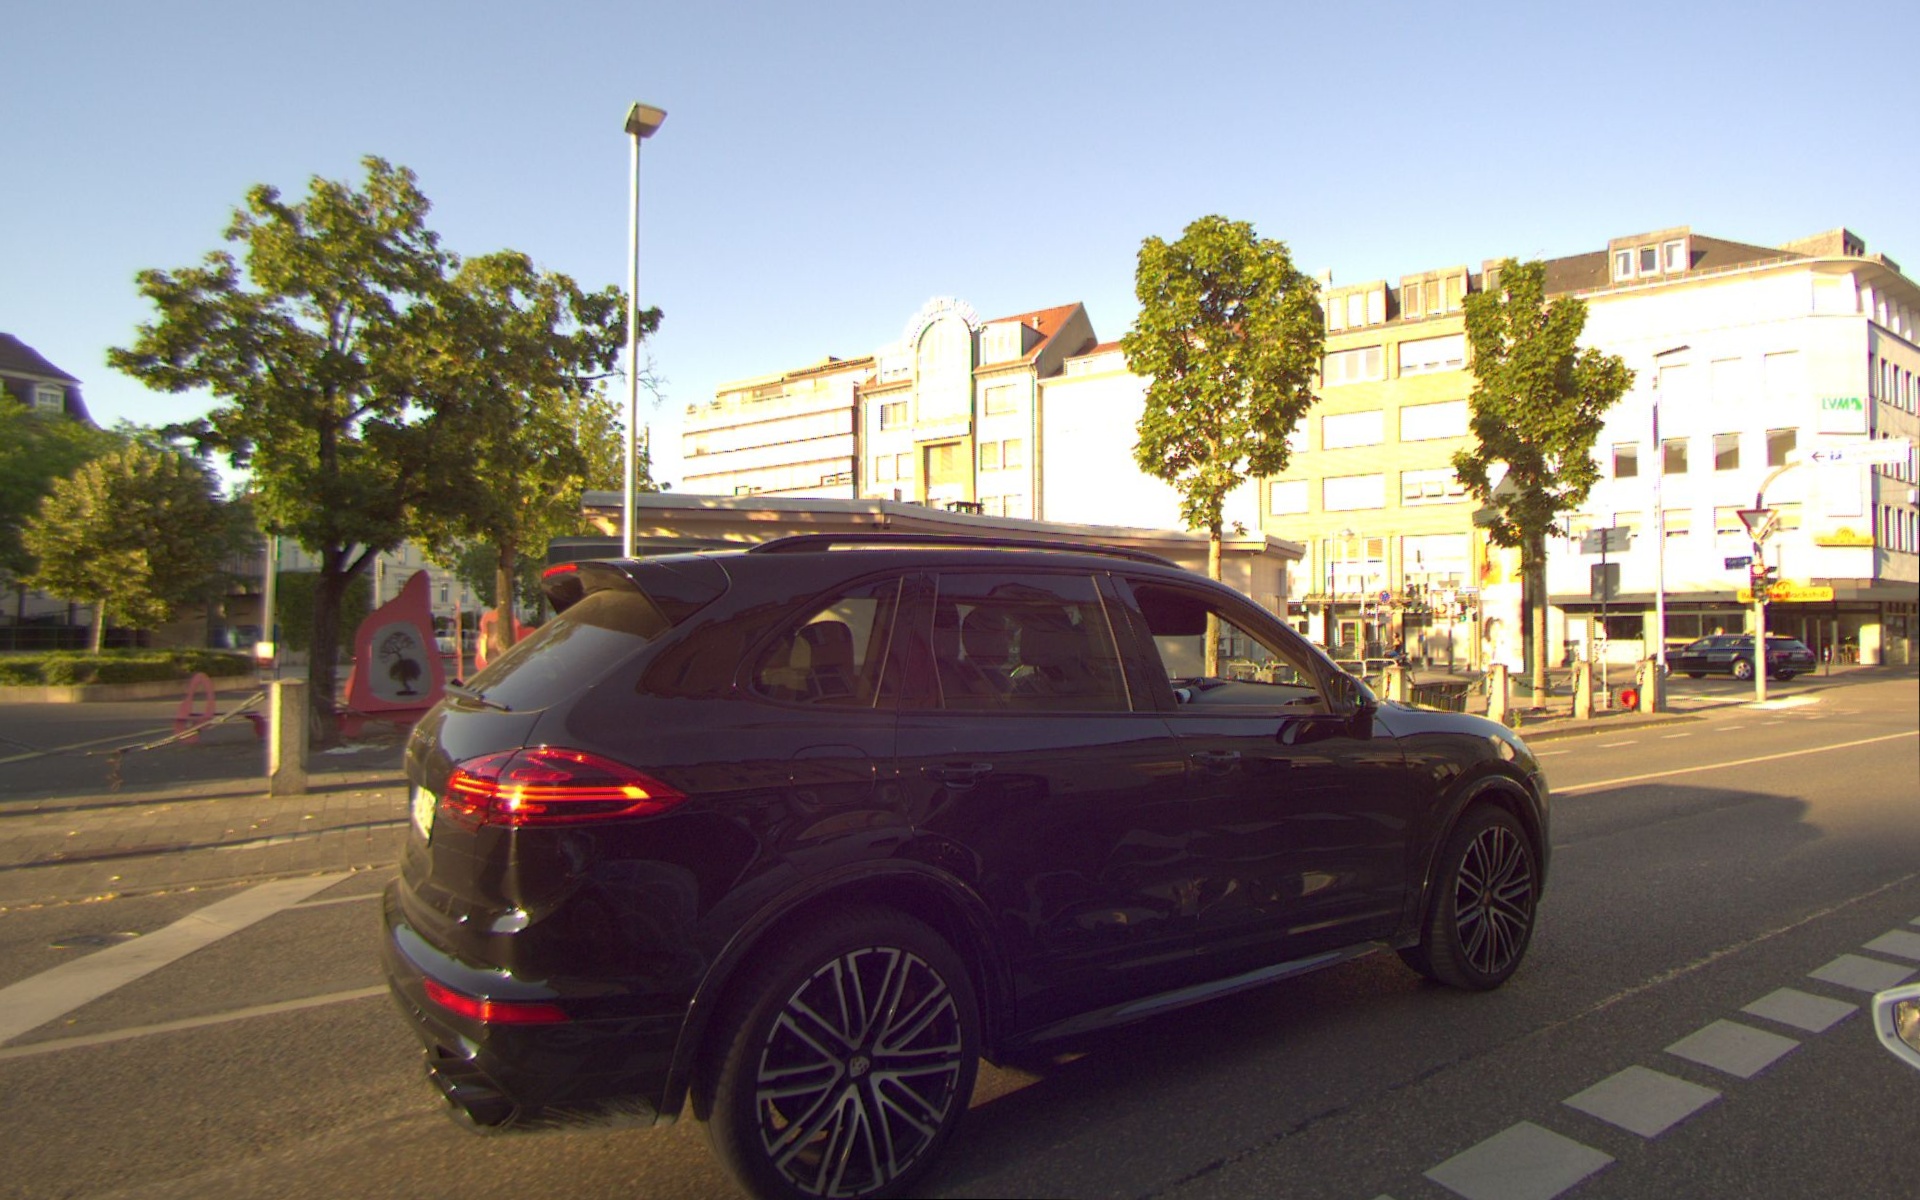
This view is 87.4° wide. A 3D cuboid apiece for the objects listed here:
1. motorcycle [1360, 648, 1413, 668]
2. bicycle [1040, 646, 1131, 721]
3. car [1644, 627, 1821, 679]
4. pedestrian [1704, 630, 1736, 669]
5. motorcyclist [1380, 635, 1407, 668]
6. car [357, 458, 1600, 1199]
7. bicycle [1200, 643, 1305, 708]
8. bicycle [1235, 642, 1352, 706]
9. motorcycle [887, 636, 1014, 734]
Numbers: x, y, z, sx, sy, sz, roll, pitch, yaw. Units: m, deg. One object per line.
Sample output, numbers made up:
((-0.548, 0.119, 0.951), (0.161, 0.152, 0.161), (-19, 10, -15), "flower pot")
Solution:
((17.832, 2.433, 42.014), (1.998, 0.791, 0.662), (-1, -2, 33), "motorcycle")
((2.252, 1.484, 18.229), (0.625, 1.273, 1.844), (1, -3, -31), "bicycle")
((25.522, 1.714, 33.406), (1.848, 1.616, 4.435), (0, -2, -16), "car")
((31.384, 2.033, 41.501), (0.932, 1.557, 0.906), (-1, -2, 33), "pedestrian")
((18.072, 2.134, 41.851), (0.976, 1.337, 0.767), (-1, -2, 29), "motorcyclist")
((0.323, 0.677, 3.898), (4.512, 1.736, 1.938), (1, -3, -33), "car")
((6.038, 1.536, 20.842), (0.939, 1.273, 1.995), (1, -3, -31), "bicycle")
((7.070, 1.545, 21.425), (0.778, 1.273, 2.431), (1, -3, -31), "bicycle")
((-0.205, 1.308, 16.174), (0.858, 1.448, 2.568), (1, -3, -31), "motorcycle")
